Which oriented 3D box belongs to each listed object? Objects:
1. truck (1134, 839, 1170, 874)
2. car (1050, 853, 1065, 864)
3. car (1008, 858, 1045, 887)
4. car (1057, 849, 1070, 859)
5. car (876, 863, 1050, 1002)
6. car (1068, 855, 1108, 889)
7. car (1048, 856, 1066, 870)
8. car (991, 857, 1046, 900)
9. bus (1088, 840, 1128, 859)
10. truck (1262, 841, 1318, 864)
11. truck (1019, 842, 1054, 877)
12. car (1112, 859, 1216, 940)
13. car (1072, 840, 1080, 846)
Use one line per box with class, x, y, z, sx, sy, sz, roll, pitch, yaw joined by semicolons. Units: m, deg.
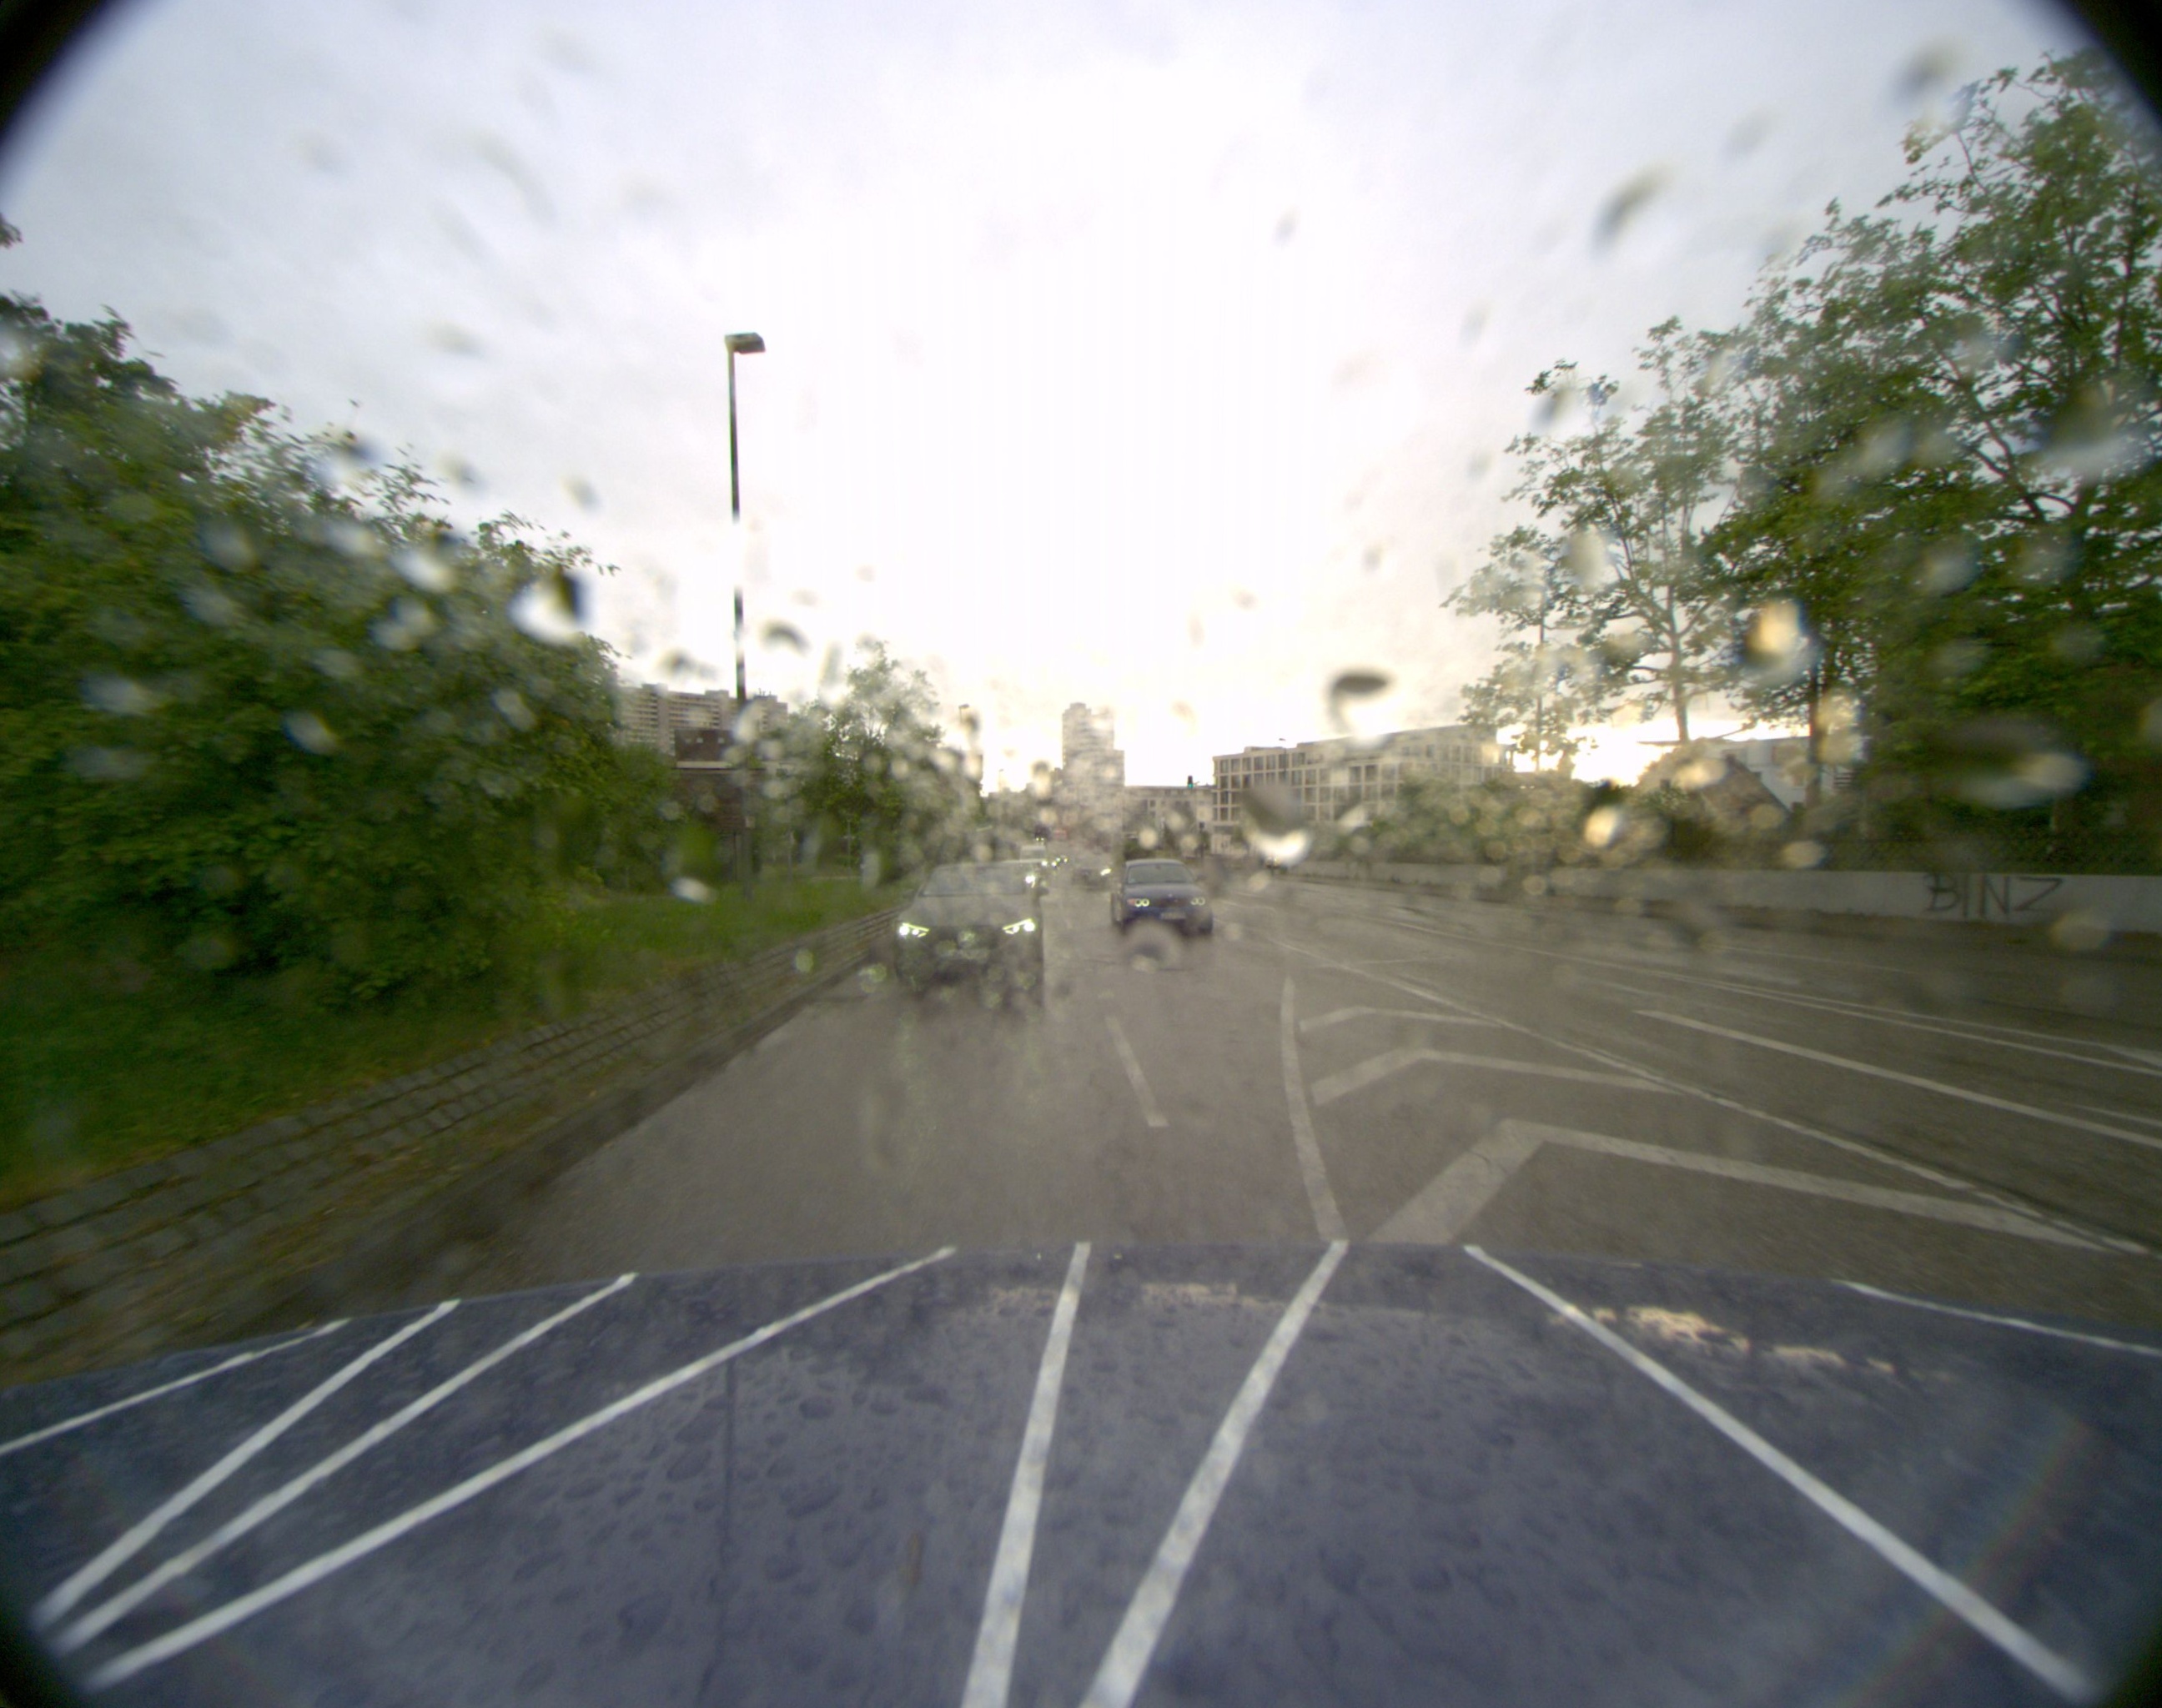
truck;5.217;0.108;56.494;2.169;2.426;6.198;-1;1;1
car;-3.330;0.625;108.042;1.999;1.543;3.999;-1;0;-2
car;-3.009;1.016;42.547;1.718;1.369;3.734;-2;1;1
car;-2.879;0.017;125.234;1.999;1.543;3.999;-1;0;-2
car;-1.483;0.959;11.236;1.836;1.436;4.549;-2;1;0
car;0.330;0.808;35.560;1.718;1.369;3.734;-2;1;1
car;-2.712;1.014;86.341;1.999;1.543;3.999;-1;0;-2
car;-2.410;0.917;30.172;1.718;1.389;4.035;-2;1;1
bus;6.266;-1.206;181.899;2.956;3.972;18.193;0;1;-19
truck;24.111;-0.132;87.509;6.184;2.524;2.223;1;2;-25
truck;-3.290;0.381;57.575;2.169;2.426;6.198;-1;1;1
car;1.598;0.850;15.711;1.787;1.335;3.704;-1;1;1
car;-1.225;-2.853;197.441;1.998;1.406;4.429;-1;2;0
